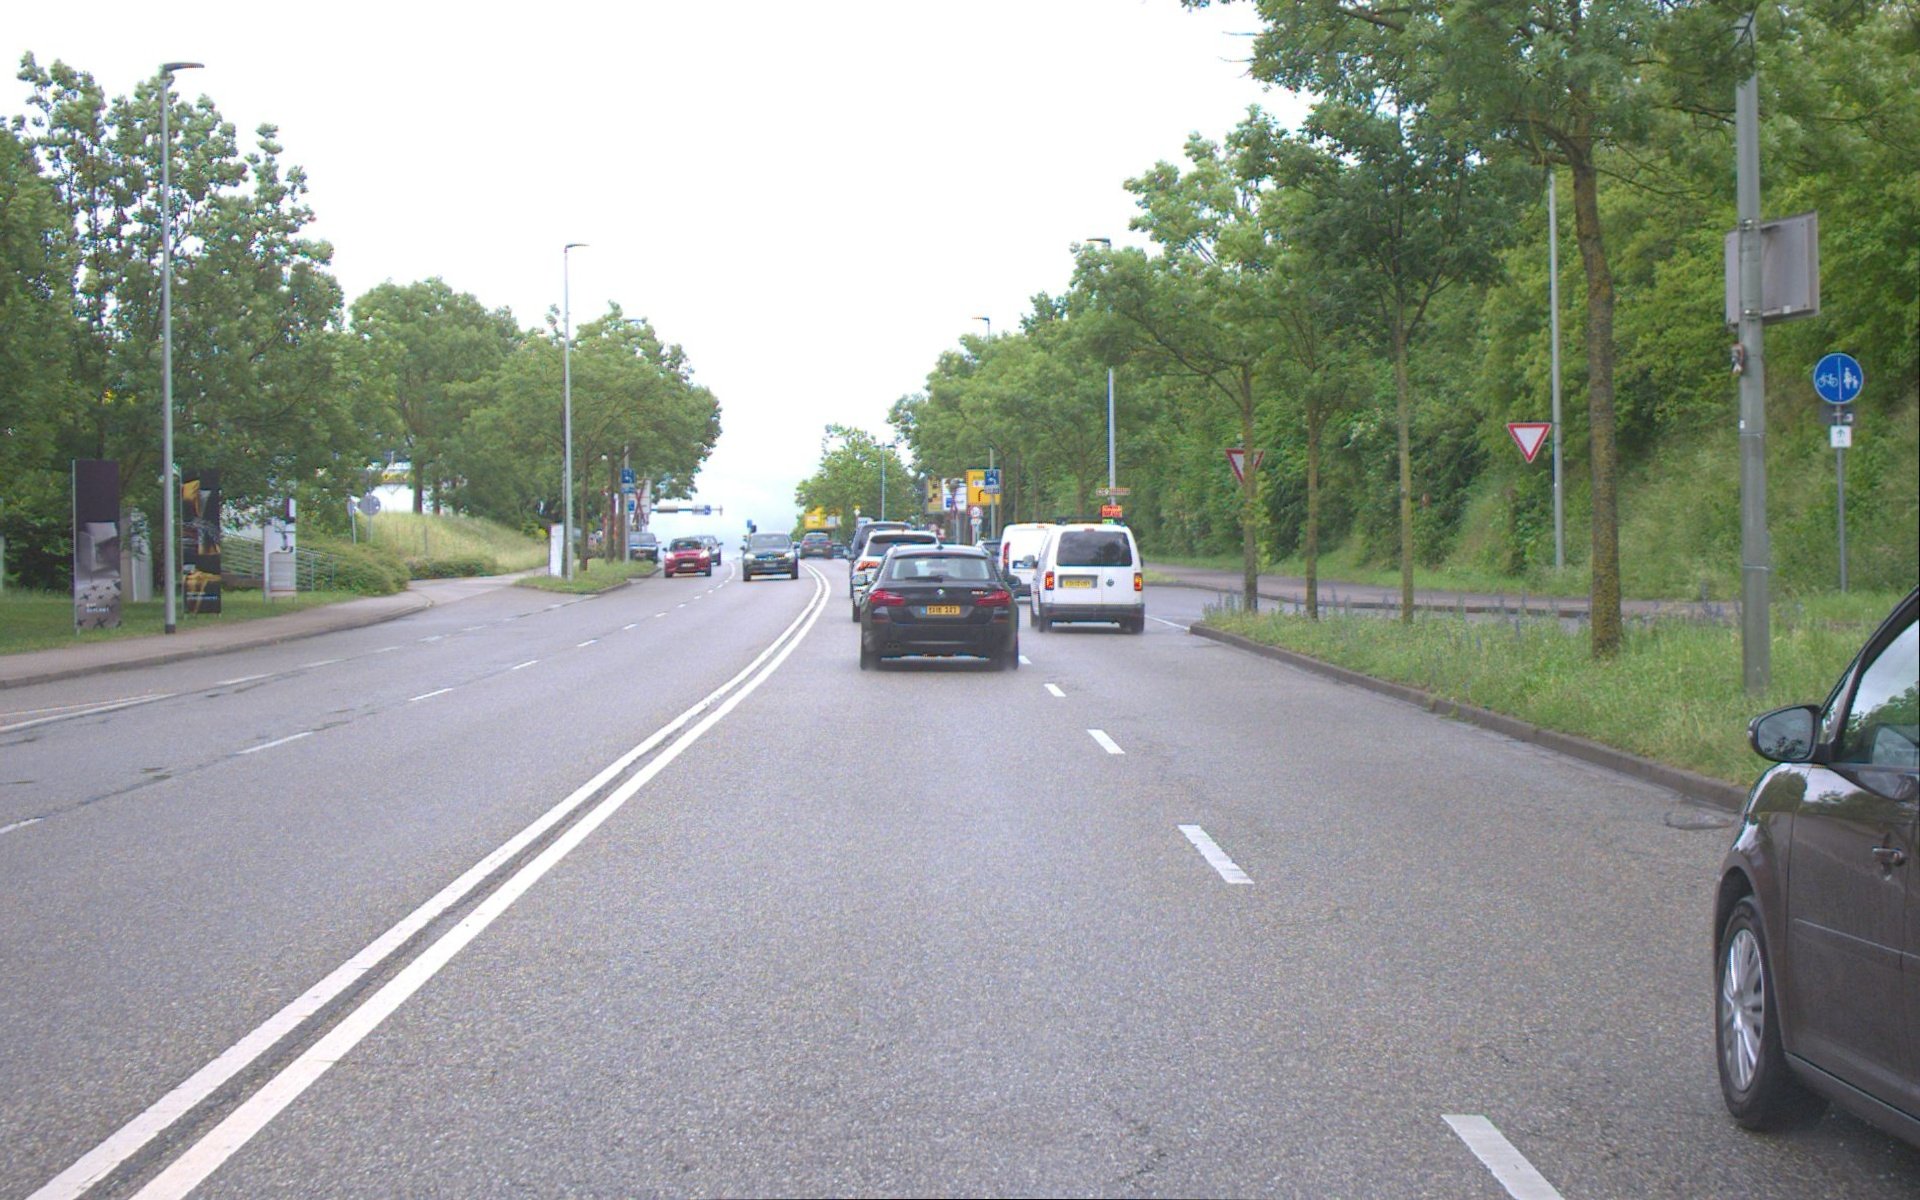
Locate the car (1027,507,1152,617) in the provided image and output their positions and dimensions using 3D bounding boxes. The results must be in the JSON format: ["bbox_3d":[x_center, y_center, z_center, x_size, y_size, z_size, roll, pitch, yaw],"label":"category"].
[{"bbox_3d":[2.140,-0.660,57.841,1.827,1.753,4.000,1,1,-1],"label":"car"}]

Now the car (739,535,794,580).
[{"bbox_3d":[-6.646,-1.444,117.972,1.794,1.505,4.001,1,0,-4],"label":"car"}]

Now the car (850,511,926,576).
[{"bbox_3d":[-1.752,-1.355,84.107,1.794,1.505,4.000,1,0,-1],"label":"car"}]

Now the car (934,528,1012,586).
[{"bbox_3d":[0.320,-1.145,93.466,1.794,1.505,4.001,1,0,-4],"label":"car"}]

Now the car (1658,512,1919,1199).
[{"bbox_3d":[2.822,0.615,7.441,1.685,1.575,4.219,1,1,-1],"label":"car"}]

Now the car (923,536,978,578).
[{"bbox_3d":[-0.365,-1.609,129.915,1.794,1.505,4.001,1,0,-4],"label":"car"}]

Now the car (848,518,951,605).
[{"bbox_3d":[-1.146,-0.695,63.307,1.794,1.505,4.000,1,0,-2],"label":"car"}]

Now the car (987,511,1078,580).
[{"bbox_3d":[1.650,-1.239,79.554,1.794,1.505,4.000,1,0,-3],"label":"car"}]

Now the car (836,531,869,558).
[{"bbox_3d":[-6.220,-3.194,198.199,1.794,1.505,4.000,1,0,-3],"label":"car"}]

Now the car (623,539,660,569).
[{"bbox_3d":[-16.654,-2.411,179.762,1.794,1.505,4.001,1,0,-4],"label":"car"}]

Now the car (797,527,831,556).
[{"bbox_3d":[-7.996,-3.182,188.130,1.794,1.505,4.000,1,0,-3],"label":"car"}]

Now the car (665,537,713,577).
[{"bbox_3d":[-10.545,-1.651,133.966,1.794,1.505,4.001,1,0,-4],"label":"car"}]

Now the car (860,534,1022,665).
[{"bbox_3d":[-0.225,-0.044,40.909,1.827,1.463,4.000,0,1,0],"label":"car"}]
